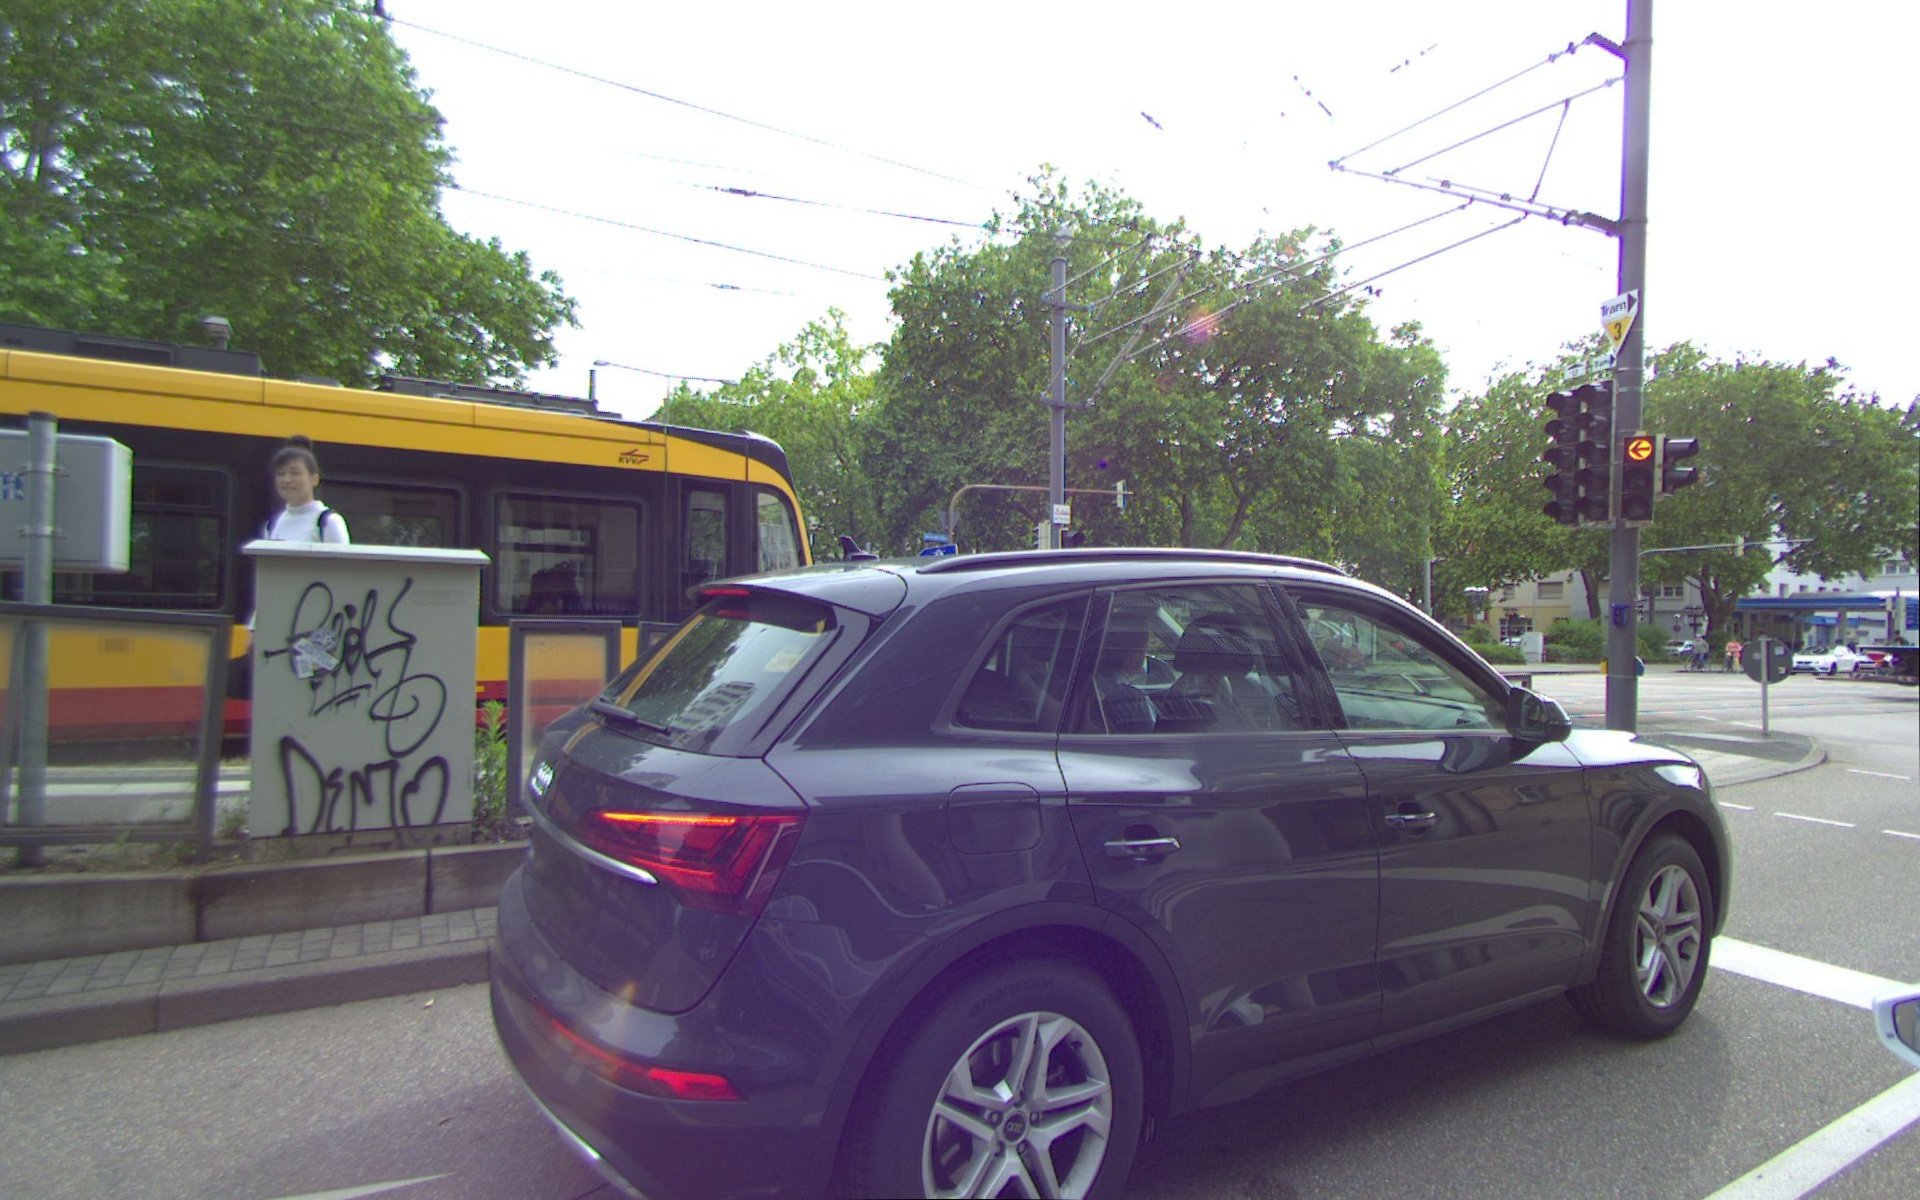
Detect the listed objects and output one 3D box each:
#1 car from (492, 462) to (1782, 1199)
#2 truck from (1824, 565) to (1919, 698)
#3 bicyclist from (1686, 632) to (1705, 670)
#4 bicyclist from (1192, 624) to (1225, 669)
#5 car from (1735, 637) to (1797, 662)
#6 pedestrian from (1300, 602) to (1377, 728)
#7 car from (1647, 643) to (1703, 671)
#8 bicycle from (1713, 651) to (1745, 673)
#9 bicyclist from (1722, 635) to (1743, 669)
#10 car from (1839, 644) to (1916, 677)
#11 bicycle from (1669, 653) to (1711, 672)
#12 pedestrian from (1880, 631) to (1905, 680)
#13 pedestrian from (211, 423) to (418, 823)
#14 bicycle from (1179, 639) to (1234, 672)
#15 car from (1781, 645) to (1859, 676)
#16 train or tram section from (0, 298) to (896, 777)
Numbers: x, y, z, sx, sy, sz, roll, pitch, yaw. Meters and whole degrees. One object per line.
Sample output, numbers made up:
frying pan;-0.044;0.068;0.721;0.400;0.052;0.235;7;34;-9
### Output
car;0.828;0.655;3.540;4.308;1.622;1.870;2;-1;-31
truck;26.192;0.837;22.664;9.973;2.980;2.639;1;0;14
bicyclist;35.875;2.470;48.992;0.461;1.808;0.534;2;0;-10
bicyclist;9.671;1.795;39.119;1.026;1.706;0.641;2;0;41
car;54.721;3.365;68.159;3.954;1.550;1.984;2;0;-30
pedestrian;5.346;0.898;14.219;0.851;1.702;0.673;2;0;9
car;45.196;3.585;63.511;3.802;1.578;1.879;2;0;-38
bicycle;36.936;2.988;48.241;1.914;1.031;0.519;2;0;-30
bicyclist;37.243;2.498;48.413;0.611;1.588;0.585;2;0;-30
car;47.063;3.097;51.532;3.792;1.578;1.885;2;0;-30
bicycle;35.732;3.050;49.198;0.644;0.783;1.682;2;0;-9
pedestrian;35.810;2.119;38.571;0.513;1.818;0.569;2;0;-34
pedestrian;-3.000;0.105;4.736;0.722;1.683;0.750;2;0;-30
bicycle;9.595;2.150;39.124;1.914;1.151;0.732;2;0;40
car;41.363;2.919;48.302;3.954;1.343;1.626;2;0;-31
train or tram section;-8.267;-0.496;8.826;15.665;3.636;3.045;2;0;-31
